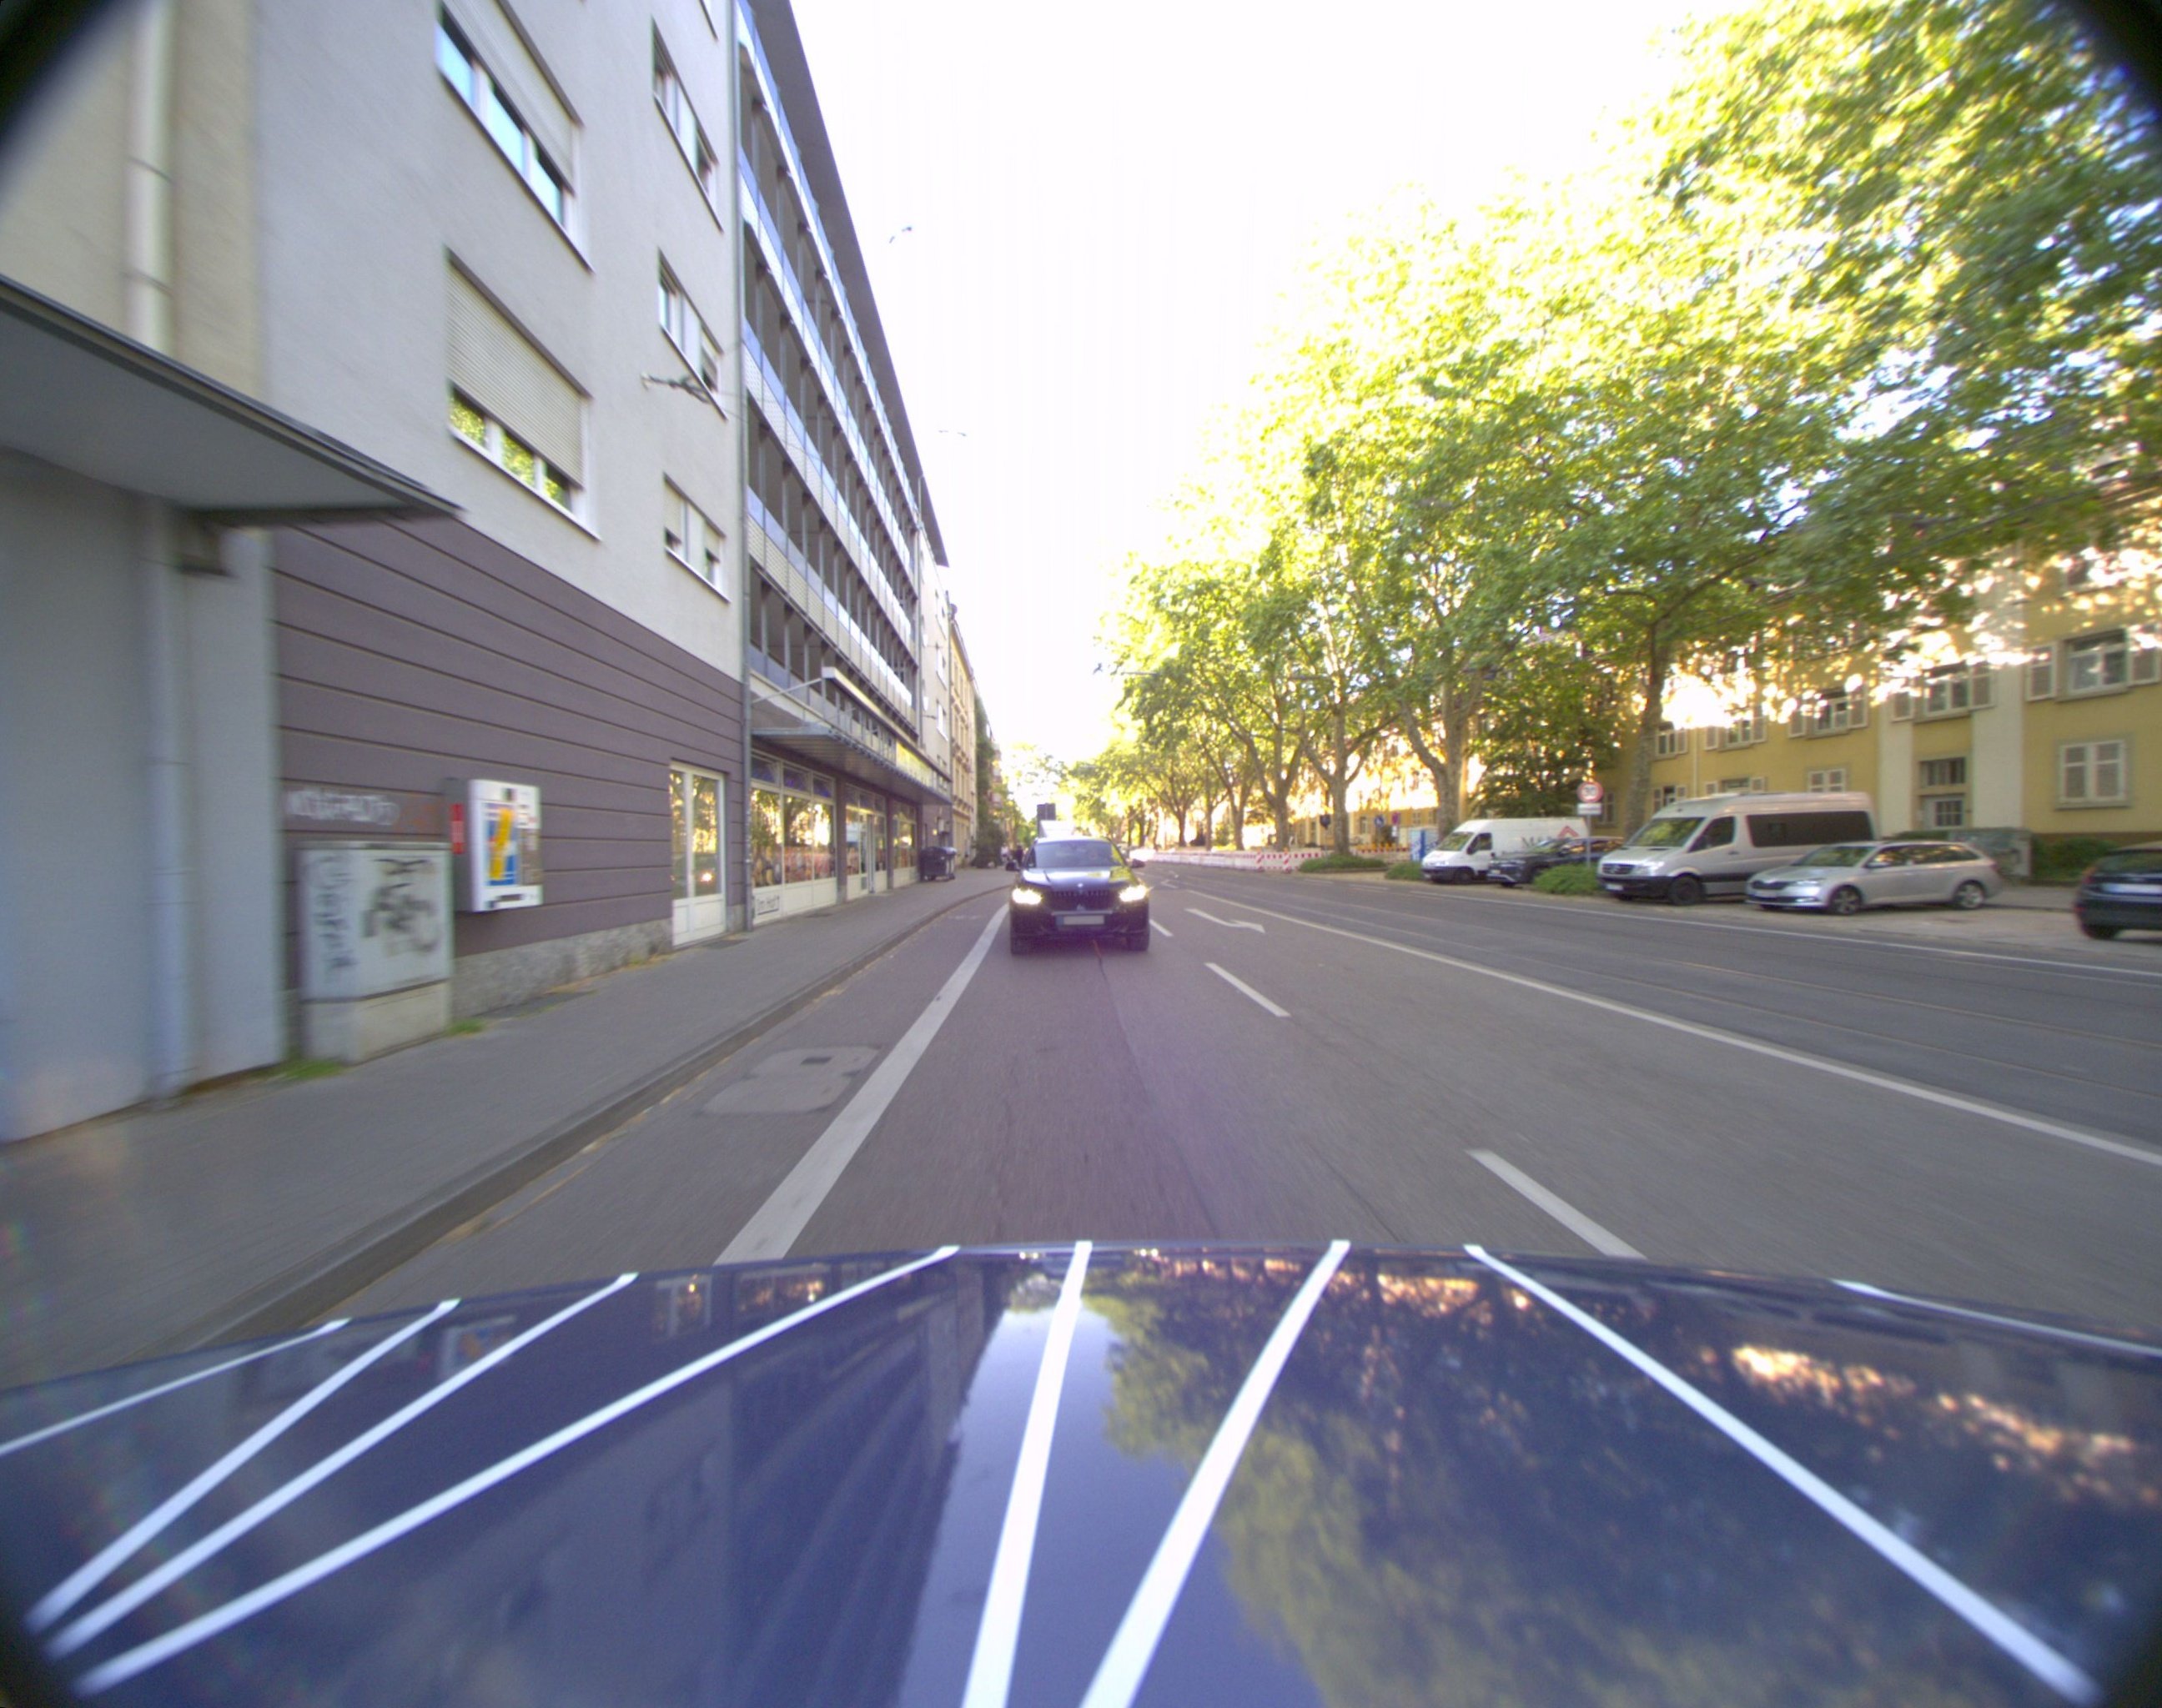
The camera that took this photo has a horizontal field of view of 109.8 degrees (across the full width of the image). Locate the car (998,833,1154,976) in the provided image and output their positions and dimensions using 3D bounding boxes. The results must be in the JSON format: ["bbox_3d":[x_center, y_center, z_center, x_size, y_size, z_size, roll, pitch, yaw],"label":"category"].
[{"bbox_3d":[-0.069,0.584,12.038,1.930,1.743,4.681,-2,2,0],"label":"car"}]

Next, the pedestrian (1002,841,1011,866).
[{"bbox_3d":[-4.873,-0.028,49.863,0.541,1.662,0.630,-1,1,-1],"label":"pedestrian"}]

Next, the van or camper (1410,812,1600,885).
[{"bbox_3d":[15.390,-0.238,27.798,5.764,2.372,2.155,-2,2,-2],"label":"van or camper"}]

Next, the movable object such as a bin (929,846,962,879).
[{"bbox_3d":[-5.872,0.344,33.066,1.204,1.402,1.371,-1,1,-1],"label":"movable object such as a bin"}]

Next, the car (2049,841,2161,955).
[{"bbox_3d":[16.271,0.543,10.414,3.861,1.438,1.693,-2,2,0],"label":"car"}]

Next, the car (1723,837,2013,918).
[{"bbox_3d":[16.118,0.446,15.724,4.276,1.438,1.693,-2,2,0],"label":"car"}]

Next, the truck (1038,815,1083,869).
[{"bbox_3d":[-1.335,-0.767,46.681,2.344,3.096,5.208,-2,2,-5],"label":"truck"}]

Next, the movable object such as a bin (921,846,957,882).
[{"bbox_3d":[-5.801,0.402,31.069,1.204,1.402,1.371,-1,1,-1],"label":"movable object such as a bin"}]

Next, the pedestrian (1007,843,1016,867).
[{"bbox_3d":[-4.739,0.081,52.050,0.541,1.662,0.513,-1,1,-1],"label":"pedestrian"}]

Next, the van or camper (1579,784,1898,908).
[{"bbox_3d":[15.740,-0.222,18.426,5.932,2.634,2.155,-2,2,-2],"label":"van or camper"}]

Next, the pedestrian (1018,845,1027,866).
[{"bbox_3d":[-3.932,0.099,50.878,0.541,1.437,0.630,-1,1,-1],"label":"pedestrian"}]

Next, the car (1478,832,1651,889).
[{"bbox_3d":[15.584,0.183,24.626,4.540,1.624,1.693,-2,2,0],"label":"car"}]
